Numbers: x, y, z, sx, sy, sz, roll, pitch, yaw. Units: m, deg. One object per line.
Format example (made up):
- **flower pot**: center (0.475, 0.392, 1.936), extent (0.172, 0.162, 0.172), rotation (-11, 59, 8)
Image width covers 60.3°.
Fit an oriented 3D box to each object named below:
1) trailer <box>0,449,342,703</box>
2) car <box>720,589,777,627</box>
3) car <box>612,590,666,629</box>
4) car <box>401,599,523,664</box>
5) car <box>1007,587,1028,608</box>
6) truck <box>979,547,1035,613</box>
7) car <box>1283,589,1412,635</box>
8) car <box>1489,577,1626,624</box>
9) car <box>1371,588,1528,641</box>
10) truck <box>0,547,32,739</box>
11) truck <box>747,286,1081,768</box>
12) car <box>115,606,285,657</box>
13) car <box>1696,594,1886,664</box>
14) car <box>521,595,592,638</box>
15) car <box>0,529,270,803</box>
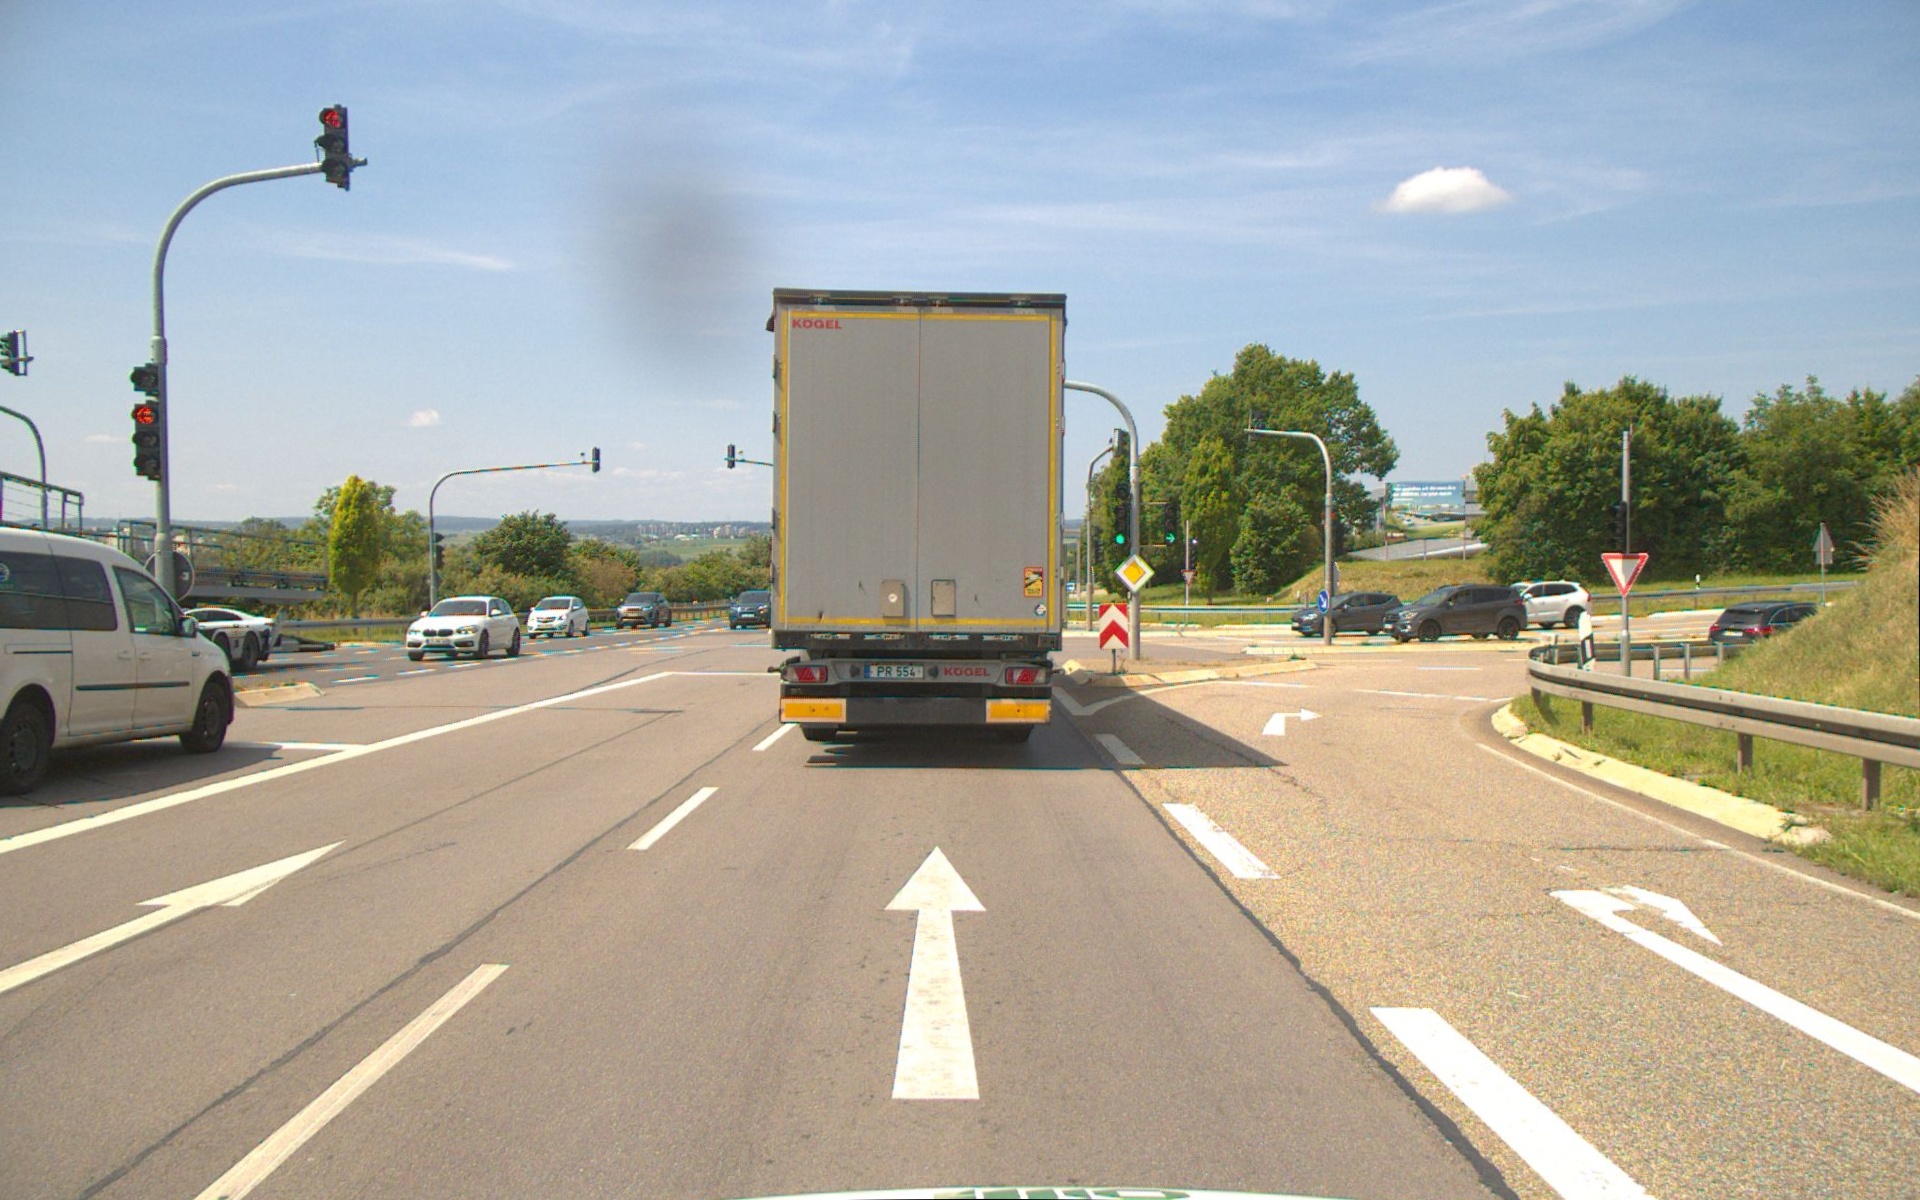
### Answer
- **trailer**: center (-15.745, -0.336, 28.764), extent (2.585, 3.829, 19.797), rotation (0, 0, 0)
- **car**: center (-8.569, 0.323, 67.172), extent (1.719, 1.494, 4.196), rotation (0, 0, 1)
- **car**: center (-14.757, 0.438, 76.292), extent (1.610, 1.652, 4.327), rotation (-2, 0, 0)
- **car**: center (-11.791, 0.722, 39.390), extent (1.736, 1.459, 3.999), rotation (-1, 0, -1)
- **car**: center (5.098, -0.206, 146.011), extent (1.749, 1.717, 4.002), rotation (1, 0, 4)
- **truck**: center (2.997, -1.138, 101.728), extent (2.599, 3.830, 10.168), rotation (1, 0, 6)
- **car**: center (13.158, 0.406, 56.253), extent (3.914, 1.537, 1.712), rotation (0, 0, -10)
- **car**: center (21.062, 0.013, 58.360), extent (4.278, 1.620, 1.776), rotation (0, 0, -10)
- **car**: center (14.786, 0.432, 50.039), extent (4.282, 1.537, 1.710), rotation (0, 0, -13)
- **truck**: center (-11.909, 0.491, 17.305), extent (1.927, 2.195, 4.621), rotation (0, 0, -2)
- **truck**: center (-0.627, -0.626, 19.549), extent (2.743, 3.998, 11.335), rotation (1, 0, -3)
- **car**: center (-23.100, 0.952, 50.368), extent (4.452, 1.485, 1.609), rotation (1, -1, -41)
- **car**: center (19.604, 0.689, 39.008), extent (4.228, 1.559, 1.738), rotation (1, 0, -24)
- **car**: center (-14.983, 0.607, 61.635), extent (1.610, 1.523, 3.802), rotation (-1, 0, 1)
- **car**: center (-7.251, 0.418, 12.819), extent (1.731, 1.830, 4.752), rotation (1, 0, 1)
